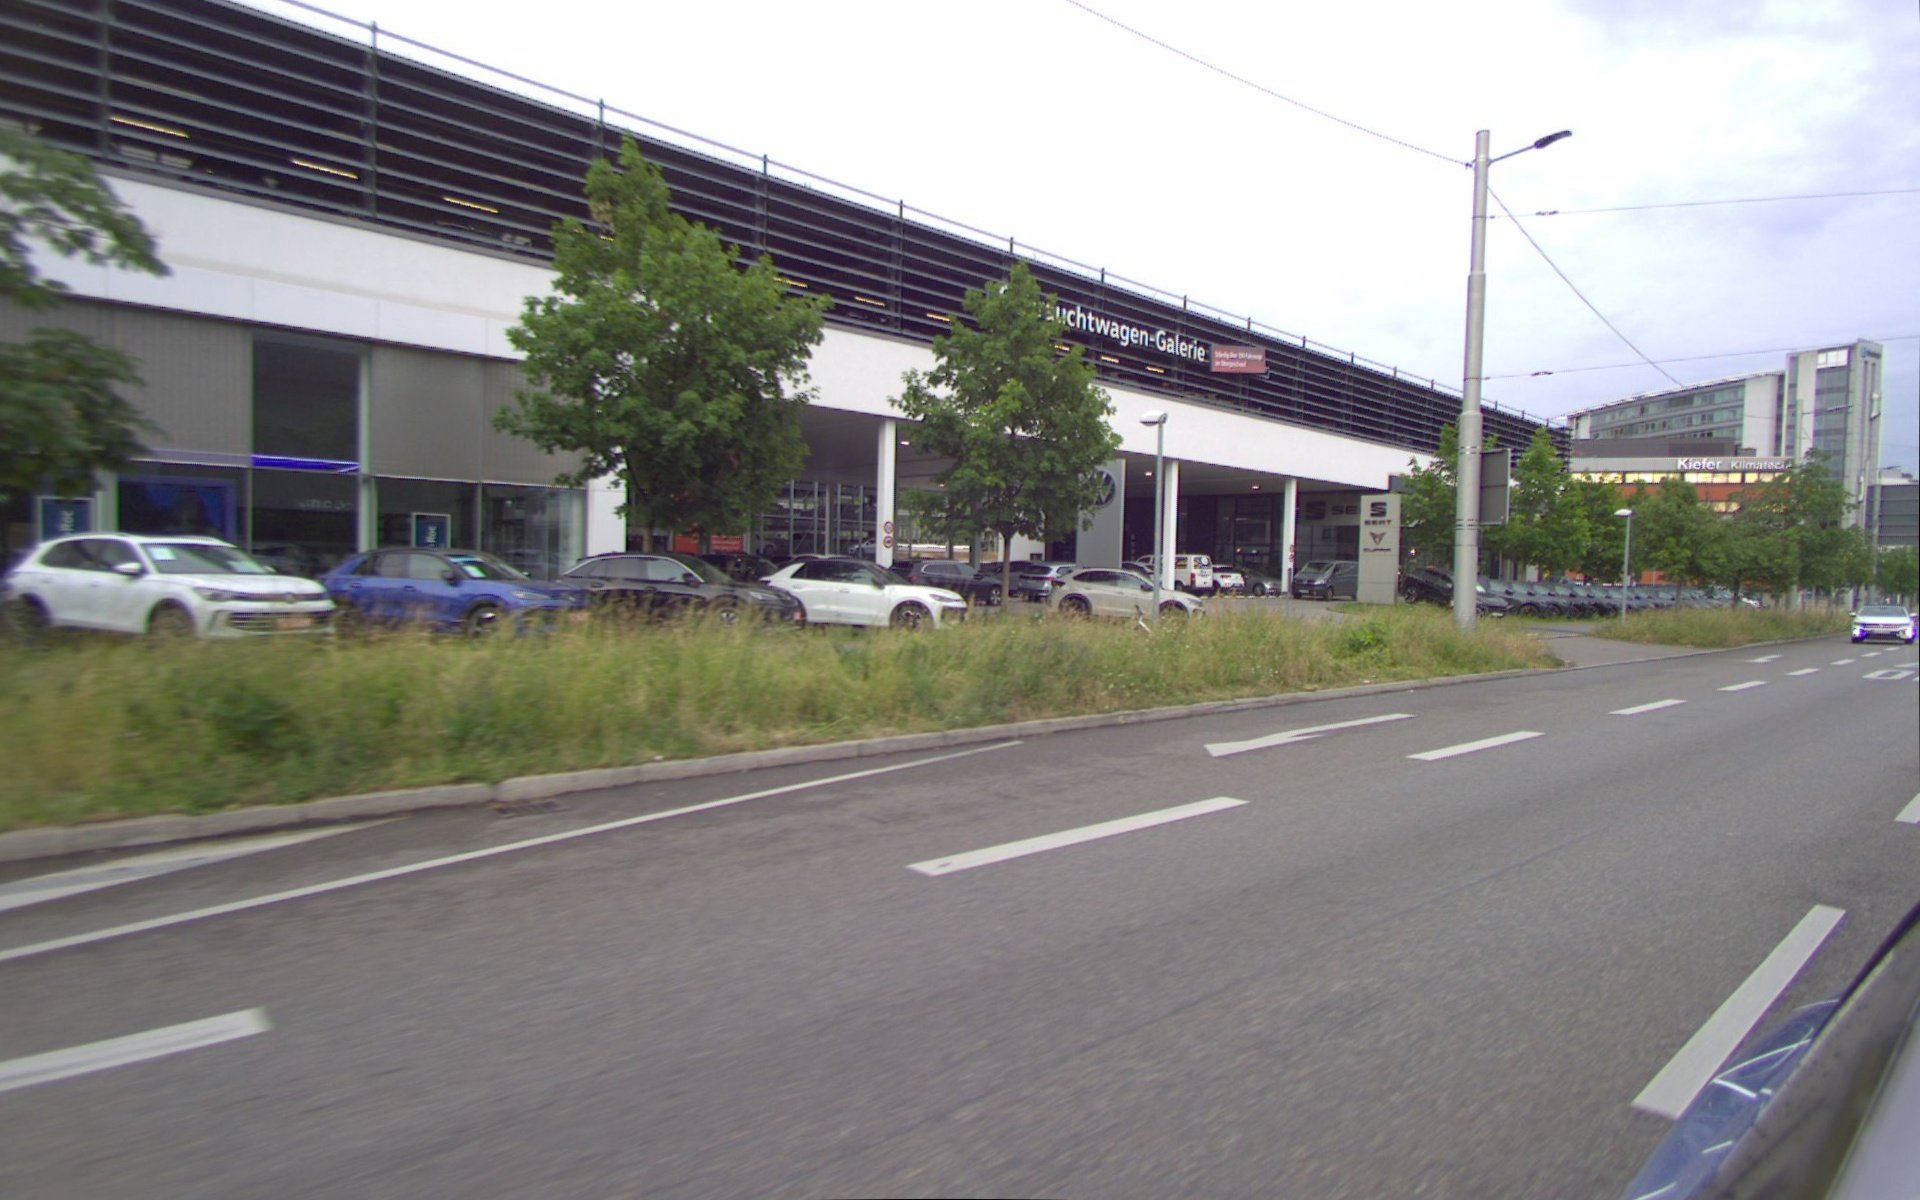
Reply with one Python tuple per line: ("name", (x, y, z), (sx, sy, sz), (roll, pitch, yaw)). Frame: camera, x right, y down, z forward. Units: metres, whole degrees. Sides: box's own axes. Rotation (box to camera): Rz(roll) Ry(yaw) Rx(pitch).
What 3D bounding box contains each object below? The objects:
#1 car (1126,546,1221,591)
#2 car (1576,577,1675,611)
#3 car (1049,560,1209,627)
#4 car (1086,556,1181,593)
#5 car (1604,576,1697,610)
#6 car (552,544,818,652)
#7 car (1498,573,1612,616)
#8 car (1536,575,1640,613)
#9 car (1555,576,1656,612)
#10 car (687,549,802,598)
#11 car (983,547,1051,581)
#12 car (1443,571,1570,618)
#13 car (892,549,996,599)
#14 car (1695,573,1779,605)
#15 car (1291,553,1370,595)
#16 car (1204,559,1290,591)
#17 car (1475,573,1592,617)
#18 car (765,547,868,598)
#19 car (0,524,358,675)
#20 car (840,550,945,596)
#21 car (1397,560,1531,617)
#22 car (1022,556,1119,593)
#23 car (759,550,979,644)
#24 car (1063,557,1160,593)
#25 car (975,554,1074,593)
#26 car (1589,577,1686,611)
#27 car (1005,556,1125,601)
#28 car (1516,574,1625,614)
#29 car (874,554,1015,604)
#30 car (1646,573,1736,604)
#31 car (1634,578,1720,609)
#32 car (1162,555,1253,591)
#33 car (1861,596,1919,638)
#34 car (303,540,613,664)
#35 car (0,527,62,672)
("car", (10.176, -1.509, 48.470), (1.911, 2.000, 4.034), (0, 3, -42))
("car", (34.952, -0.325, 53.281), (4.117, 1.476, 1.776), (4, 3, 29))
("car", (4.548, -0.221, 27.110), (4.043, 1.483, 1.740), (3, 4, 16))
("car", (7.998, -1.176, 46.851), (1.872, 1.555, 3.994), (0, 3, -42))
("car", (38.681, -0.428, 56.798), (4.022, 1.595, 1.716), (4, 3, 29))
("car", (-4.744, -0.101, 17.736), (4.120, 1.587, 1.796), (3, 4, 8))
("car", (26.787, -0.281, 45.719), (4.108, 1.624, 1.812), (4, 3, 24))
("car", (30.831, -0.333, 49.811), (4.116, 1.588, 1.891), (4, 3, 29))
("car", (32.848, -0.336, 51.638), (4.117, 1.546, 1.813), (4, 3, 29))
("car", (-7.098, -0.895, 33.209), (3.812, 1.469, 1.709), (4, 3, 40))
("car", (3.562, -2.252, 63.226), (4.029, 2.038, 1.997), (-2, 4, -42))
("car", (22.652, -0.254, 42.139), (4.281, 1.632, 1.858), (4, 3, 20))
("car", (-0.652, -0.931, 37.856), (1.857, 1.750, 3.995), (0, 0, -39))
("car", (55.777, -0.839, 72.768), (4.465, 2.015, 1.802), (5, 3, 31))
("car", (18.449, -1.291, 50.348), (4.355, 1.962, 1.889), (0, 2, -43))
("car", (15.151, -1.331, 53.492), (1.695, 1.532, 4.037), (0, 3, -43))
("car", (24.750, -0.262, 43.863), (4.106, 1.580, 1.856), (4, 3, 22))
("car", (-4.988, -0.961, 34.844), (1.610, 1.607, 3.822), (0, 3, -42))
("car", (-10.487, -0.105, 13.578), (4.299, 1.645, 1.846), (3, 4, 19))
("car", (-2.458, -0.919, 36.118), (1.754, 1.527, 3.995), (0, 0, -39))
("car", (19.676, -0.503, 39.778), (1.786, 1.899, 4.734), (2, 3, -18))
("car", (4.703, -1.121, 43.623), (1.734, 1.442, 3.994), (0, 3, -42))
("car", (-1.785, -0.119, 20.359), (4.037, 1.587, 1.794), (3, 4, 12))
("car", (6.650, -1.120, 44.697), (1.734, 1.463, 3.994), (0, 3, -42))
("car", (2.618, -1.113, 41.978), (1.734, 1.442, 3.994), (0, 3, -42))
("car", (36.871, -0.380, 55.202), (4.117, 1.552, 1.776), (4, 3, 29))
("car", (3.989, -0.823, 38.062), (4.617, 1.485, 1.897), (-1, 5, -43))
("car", (28.676, -0.328, 47.700), (4.108, 1.588, 1.812), (4, 3, 24))
("car", (-0.456, -0.704, 33.280), (4.615, 1.485, 1.783), (-1, 5, -43))
("car", (46.038, -0.762, 63.795), (4.477, 1.683, 1.797), (5, 4, 37))
("car", (42.699, -0.408, 60.331), (4.036, 1.519, 1.665), (5, 4, 37))
("car", (12.169, -1.345, 49.941), (1.872, 1.652, 3.994), (0, 3, -42))
("car", (36.620, 0.652, 39.376), (3.769, 1.513, 1.877), (0, 2, -41))
("car", (-7.677, -0.050, 15.579), (4.129, 1.587, 1.793), (3, 4, 14))
("car", (-12.847, -0.093, 11.673), (4.318, 1.587, 1.790), (3, 4, 18))
